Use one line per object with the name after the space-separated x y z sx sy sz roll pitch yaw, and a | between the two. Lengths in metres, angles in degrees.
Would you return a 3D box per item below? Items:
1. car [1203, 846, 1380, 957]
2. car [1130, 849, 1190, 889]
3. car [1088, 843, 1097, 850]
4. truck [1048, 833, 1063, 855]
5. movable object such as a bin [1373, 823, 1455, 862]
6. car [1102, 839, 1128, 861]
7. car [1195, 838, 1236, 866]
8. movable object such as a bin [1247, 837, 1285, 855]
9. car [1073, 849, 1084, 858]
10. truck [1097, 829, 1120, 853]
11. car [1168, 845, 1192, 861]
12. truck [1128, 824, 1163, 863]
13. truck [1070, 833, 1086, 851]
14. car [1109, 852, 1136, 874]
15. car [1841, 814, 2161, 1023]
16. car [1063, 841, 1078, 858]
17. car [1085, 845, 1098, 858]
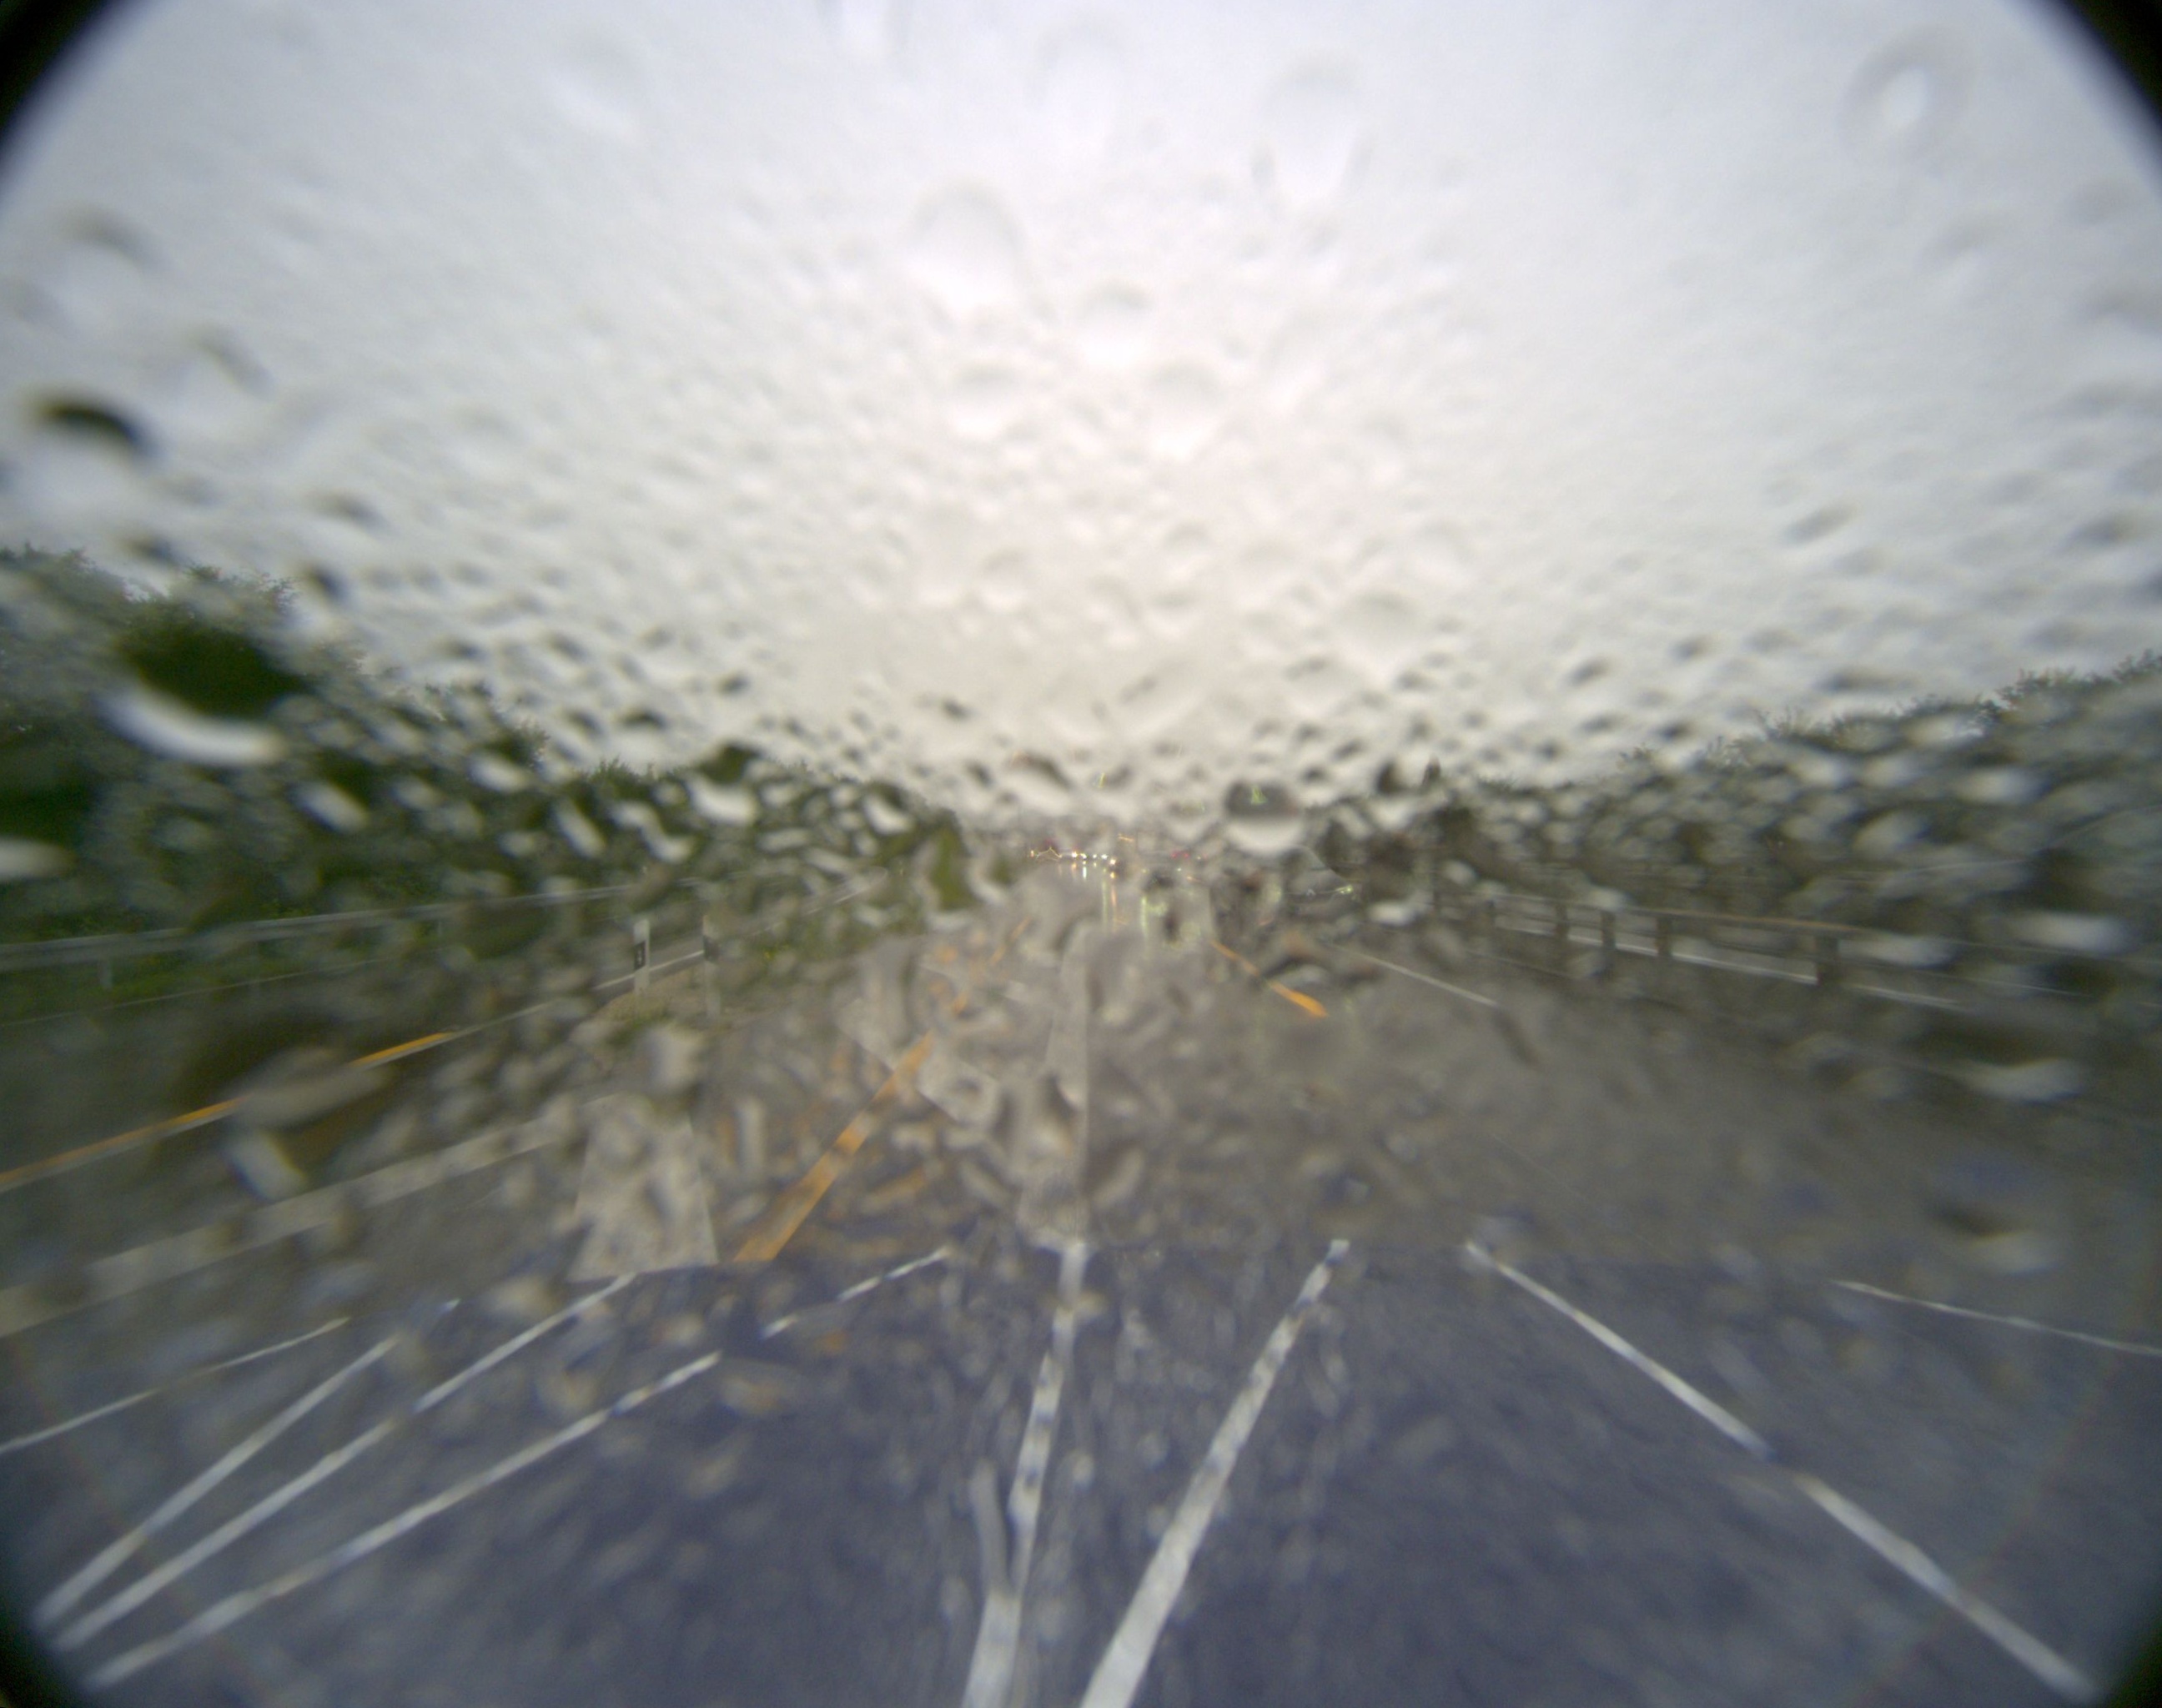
3.467 0.676 13.426 1.998 1.576 4.413 -2 1 2 | car
3.236 0.581 32.101 1.999 1.489 4.630 -2 1 0 | car
2.807 -1.794 183.439 1.897 1.796 5.053 -2 1 -3 | car
-4.965 -1.959 148.826 2.484 4.061 8.703 -2 1 0 | truck
26.253 -0.879 60.244 3.774 2.782 6.329 -2 1 1 | movable object such as a bin
3.296 -0.377 74.465 2.211 2.002 5.563 -2 1 0 | car
9.222 -0.154 52.631 1.896 1.796 5.054 -2 1 0 | car
24.692 -1.081 101.626 3.448 2.281 5.098 -2 1 -6 | movable object such as a bin
-0.430 -0.089 131.620 1.845 1.586 3.999 -2 1 0 | car
5.608 -2.659 160.214 3.283 4.808 15.979 -2 1 -3 | truck
9.677 -0.093 74.426 1.705 1.420 3.832 -2 1 -2 | car
8.708 -1.379 104.752 3.283 4.808 15.983 -2 1 0 | truck
-0.861 -3.400 220.884 3.593 4.808 15.979 -2 1 -3 | truck
3.234 0.666 58.577 1.977 1.586 4.311 -1 -1 3 | car
9.817 0.499 6.282 1.956 1.707 5.102 -2 1 0 | car
-1.314 -0.578 96.505 1.881 2.002 3.999 -2 1 0 | car
1.528 -0.397 108.786 1.695 1.740 3.999 -2 1 0 | car
